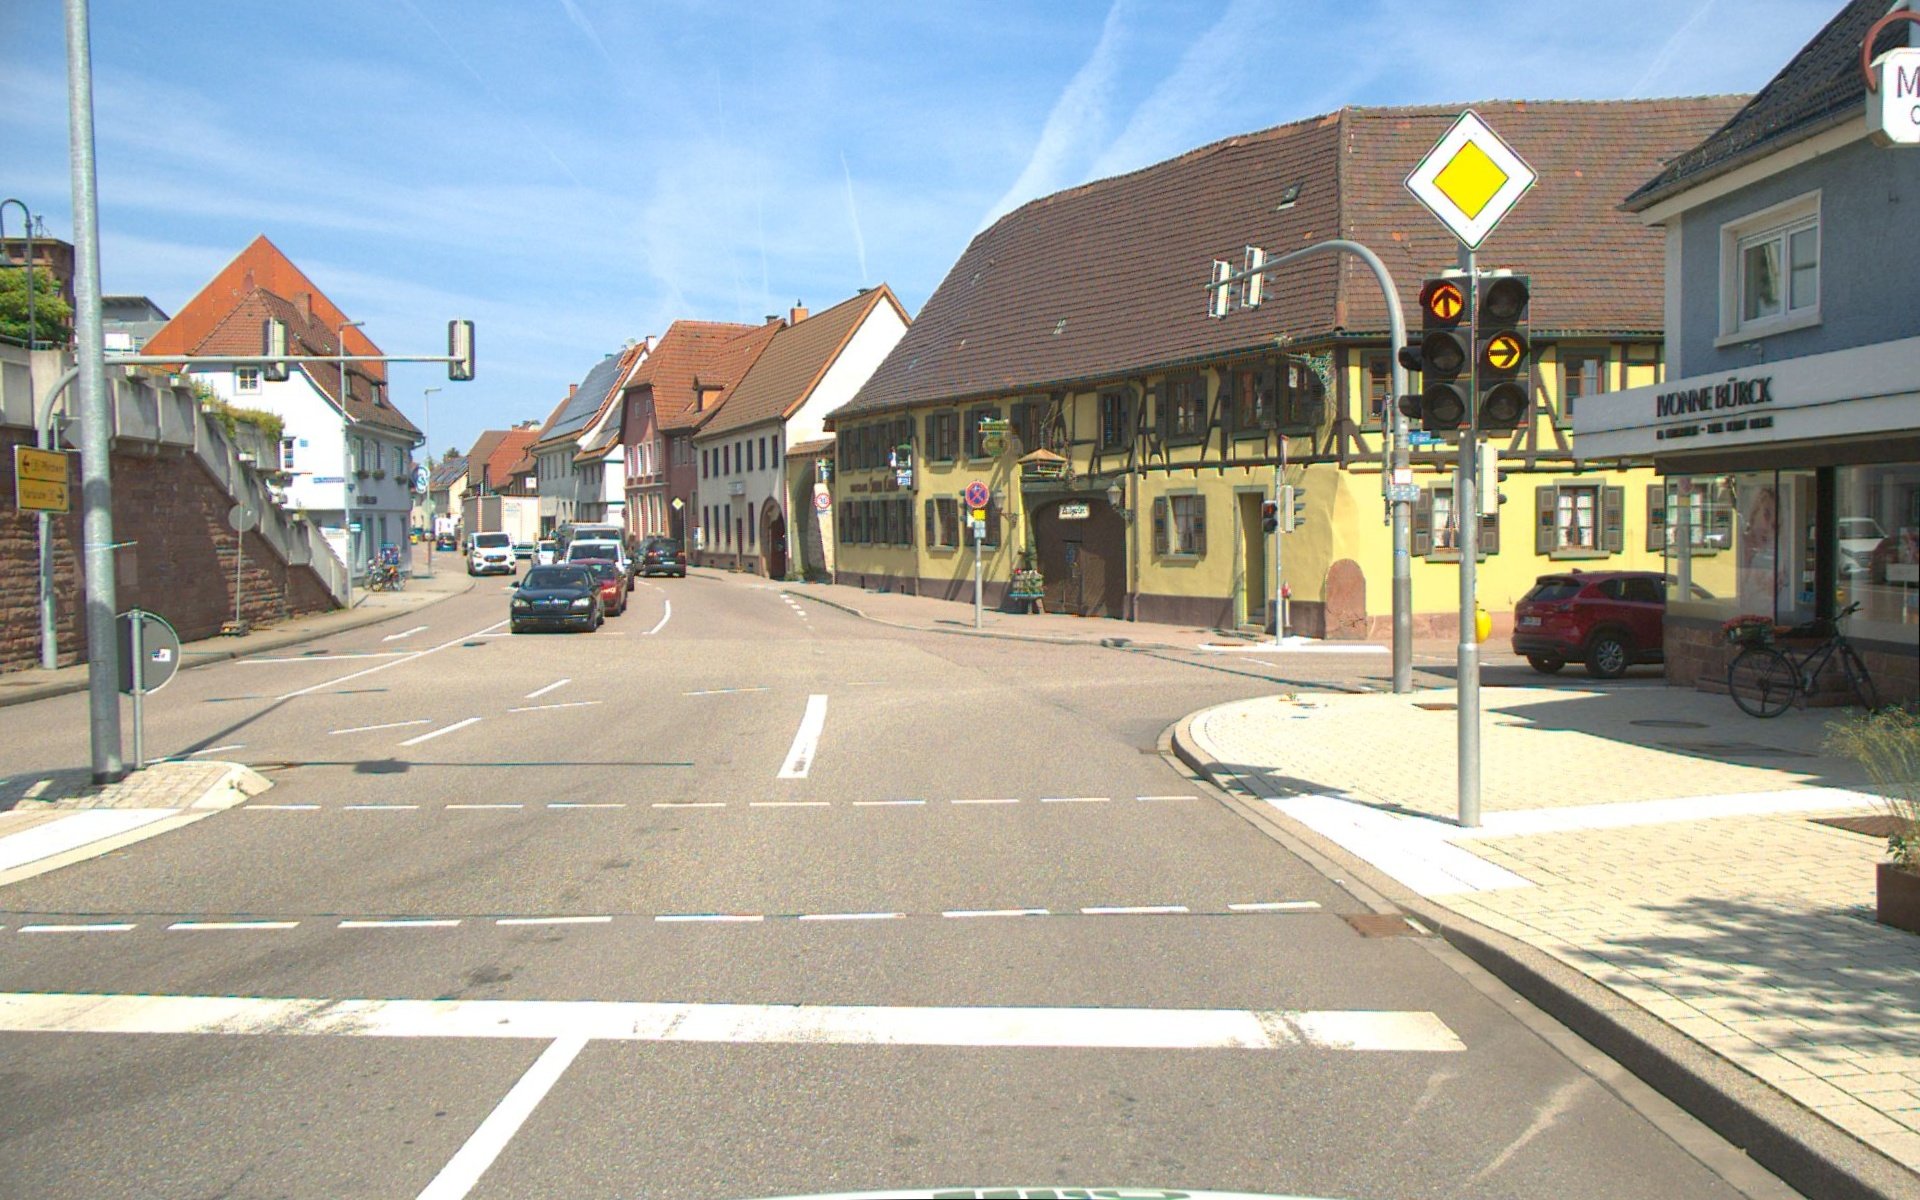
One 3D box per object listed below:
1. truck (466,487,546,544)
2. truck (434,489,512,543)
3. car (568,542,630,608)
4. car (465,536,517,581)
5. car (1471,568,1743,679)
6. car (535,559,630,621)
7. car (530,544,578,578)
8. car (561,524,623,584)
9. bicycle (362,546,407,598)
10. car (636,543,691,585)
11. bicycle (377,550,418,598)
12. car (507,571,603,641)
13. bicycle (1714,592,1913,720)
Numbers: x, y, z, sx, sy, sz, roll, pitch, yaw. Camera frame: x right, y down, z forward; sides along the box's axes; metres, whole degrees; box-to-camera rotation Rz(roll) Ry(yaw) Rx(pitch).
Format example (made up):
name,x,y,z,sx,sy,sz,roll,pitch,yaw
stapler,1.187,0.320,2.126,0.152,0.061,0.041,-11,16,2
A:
name,x,y,z,sx,sy,sz,roll,pitch,yaw
truck,-30.514,-5.605,110.911,3.187,3.611,9.145,1,1,-28
truck,-35.286,-5.993,119.625,3.125,3.520,10.609,1,1,-29
car,-11.444,-0.840,52.657,1.788,1.939,4.951,-1,2,-11
car,-22.277,-1.980,78.398,2.105,2.001,5.250,-2,2,-19
car,10.390,0.343,26.655,3.734,1.692,1.805,0,1,-13
car,-10.276,-0.315,45.389,2.118,1.541,4.940,0,2,-8
car,-19.880,-1.935,80.827,1.760,1.552,3.980,-2,2,-21
car,-14.768,-1.856,66.222,1.732,2.285,4.525,1,1,-21
bicycle,-20.613,-1.013,59.279,0.628,1.810,2.671,1,1,1
car,-12.948,-1.592,72.092,1.793,1.769,3.984,-2,2,-19
bicycle,-19.901,-0.919,58.570,0.546,1.635,2.563,1,1,1
car,-9.331,0.088,38.349,1.787,1.459,4.240,-1,2,-9
bicycle,8.808,0.571,17.102,1.766,1.256,0.549,-1,1,0
